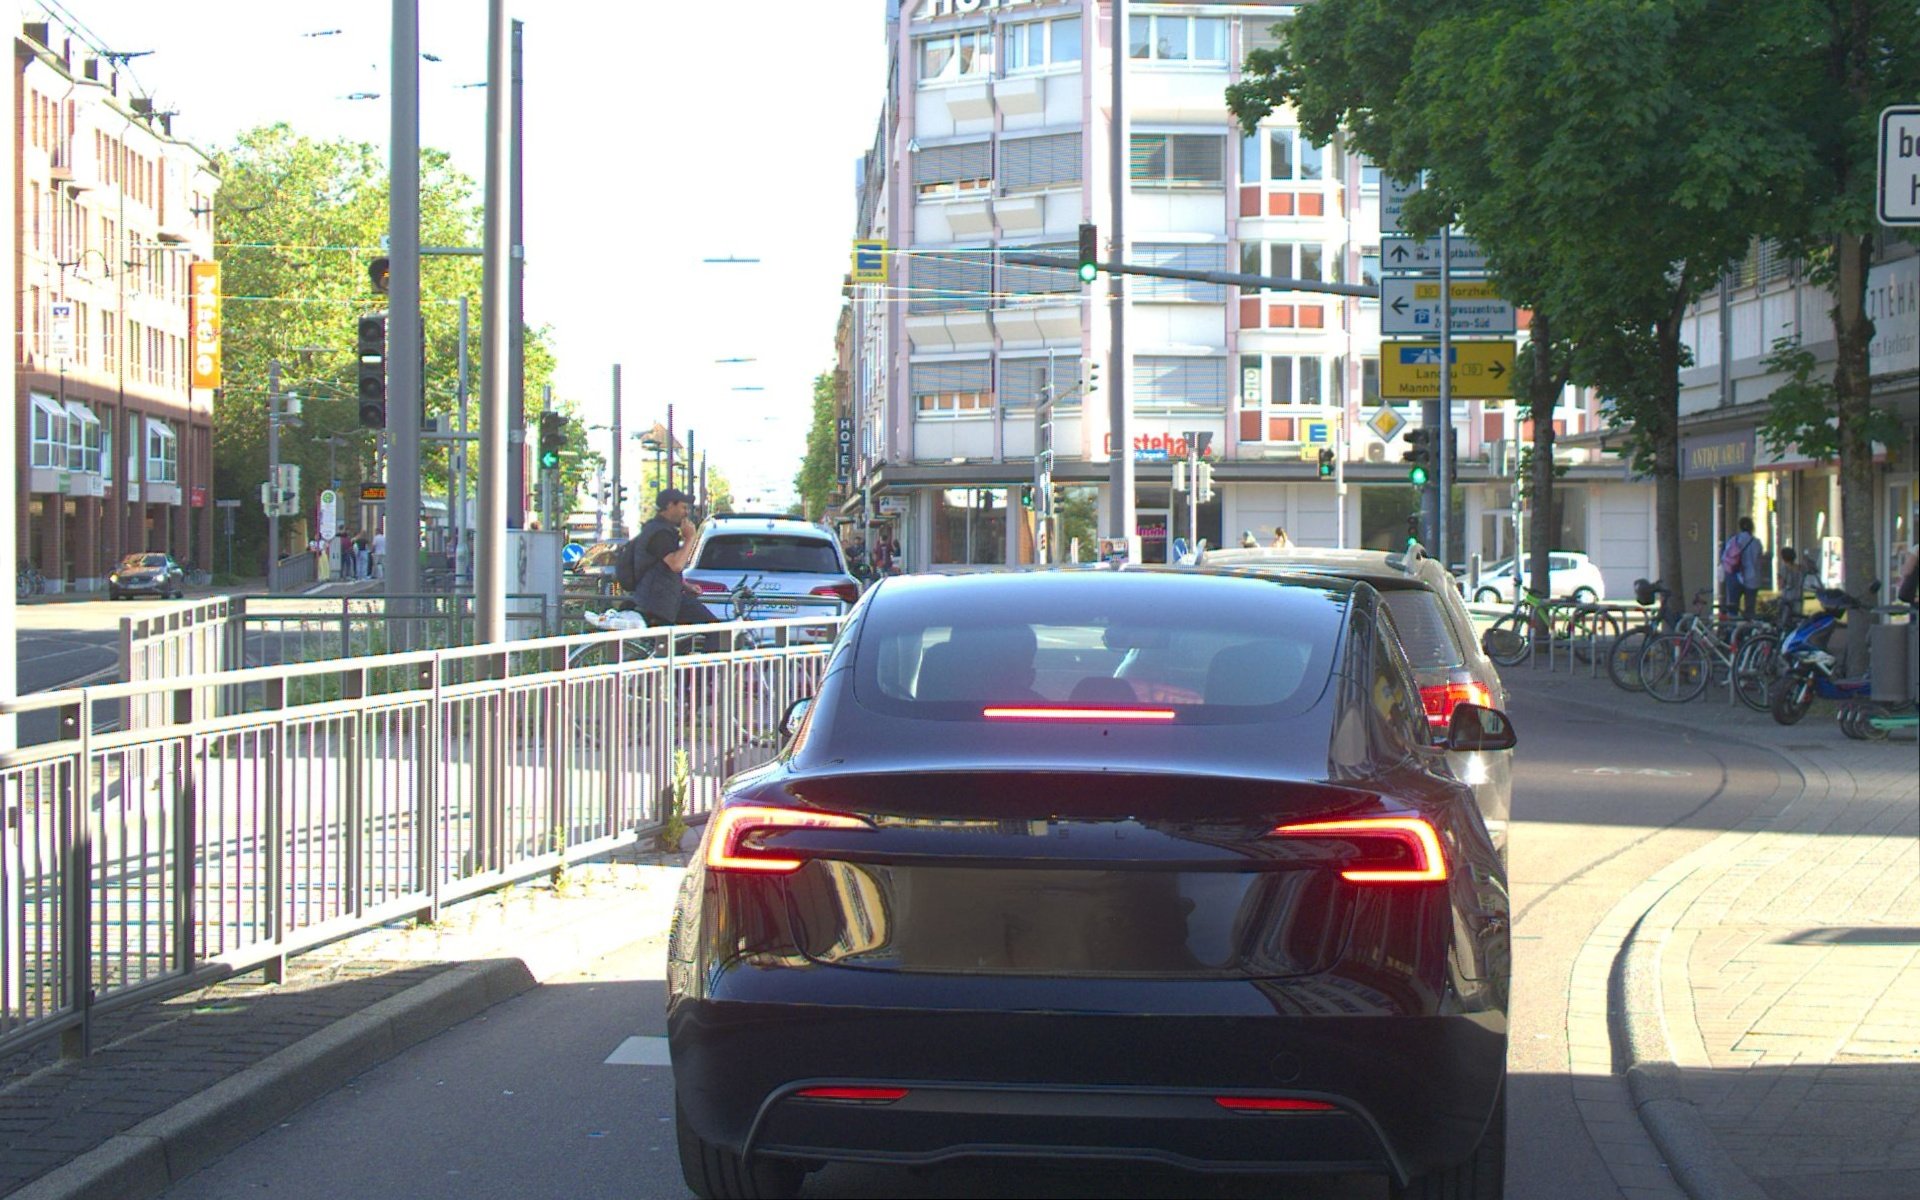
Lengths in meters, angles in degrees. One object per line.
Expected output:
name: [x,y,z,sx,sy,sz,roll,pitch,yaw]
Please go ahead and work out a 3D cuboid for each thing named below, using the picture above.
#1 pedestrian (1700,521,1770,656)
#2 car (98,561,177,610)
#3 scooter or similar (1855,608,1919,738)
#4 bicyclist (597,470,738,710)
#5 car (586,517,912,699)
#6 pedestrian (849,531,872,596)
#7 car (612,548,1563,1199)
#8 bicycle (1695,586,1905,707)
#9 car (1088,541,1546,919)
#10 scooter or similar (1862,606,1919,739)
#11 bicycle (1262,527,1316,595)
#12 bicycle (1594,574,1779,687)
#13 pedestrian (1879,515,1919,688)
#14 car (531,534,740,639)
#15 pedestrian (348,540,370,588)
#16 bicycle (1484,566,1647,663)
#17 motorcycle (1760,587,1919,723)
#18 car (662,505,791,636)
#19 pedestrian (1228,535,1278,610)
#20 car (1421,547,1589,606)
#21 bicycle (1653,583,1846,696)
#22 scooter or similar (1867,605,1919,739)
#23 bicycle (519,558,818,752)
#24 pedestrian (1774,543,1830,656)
pedestrian: [10.008,-0.154,44.430,0.843,1.715,0.879,1,0,12]
car: [-25.213,-0.459,105.506,1.817,1.449,3.978,-1,1,-6]
scooter or similar: [7.618,0.579,27.311,0.964,1.023,0.160,0,1,3]
bicyclist: [-1.889,-0.066,22.202,0.681,1.518,0.635,1,0,-31]
car: [-2.064,0.054,32.743,1.839,1.629,3.486,1,1,-27]
pedestrian: [-2.742,-1.015,94.865,0.626,1.776,0.918,1,0,-1]
car: [0.337,0.631,8.509,1.790,1.446,3.939,1,2,3]
bicycle: [7.655,0.416,31.320,1.849,1.052,0.399,-1,1,-11]
car: [1.563,0.469,15.747,1.765,1.439,4.528,1,1,4]
scooter or similar: [7.613,0.571,27.110,0.956,1.035,0.160,0,1,3]
bicycle: [7.109,-0.854,74.339,0.582,1.458,1.686,0,1,-16]
bicycle: [7.476,0.311,35.379,1.809,1.147,0.435,0,0,-4]
pedestrian: [9.692,0.015,34.183,0.843,1.701,0.880,1,0,-1]
car: [-5.023,-0.222,52.932,1.725,1.546,3.473,0,1,-34]
pedestrian: [-19.077,-1.145,109.182,0.583,1.525,0.638,1,0,-18]
bicycle: [7.458,0.172,42.378,1.890,1.152,0.480,-1,0,0]
motorcycle: [7.756,0.469,29.199,1.787,1.126,0.504,1,0,-3]
car: [-3.012,-0.388,44.840,1.572,1.612,3.784,1,1,-3]
pedestrian: [6.310,-0.595,74.075,0.779,1.571,0.868,1,2,-15]
car: [13.691,-0.582,86.449,3.840,1.427,1.804,0,-1,-5]
bicycle: [7.647,0.377,33.344,1.767,1.053,0.458,1,0,5]
scooter or similar: [7.607,0.561,26.912,0.964,1.039,0.160,0,1,3]
bicycle: [-1.875,0.345,22.213,1.820,1.207,0.642,0,1,-31]
pedestrian: [10.772,-0.011,43.981,0.645,1.417,0.621,1,0,11]
